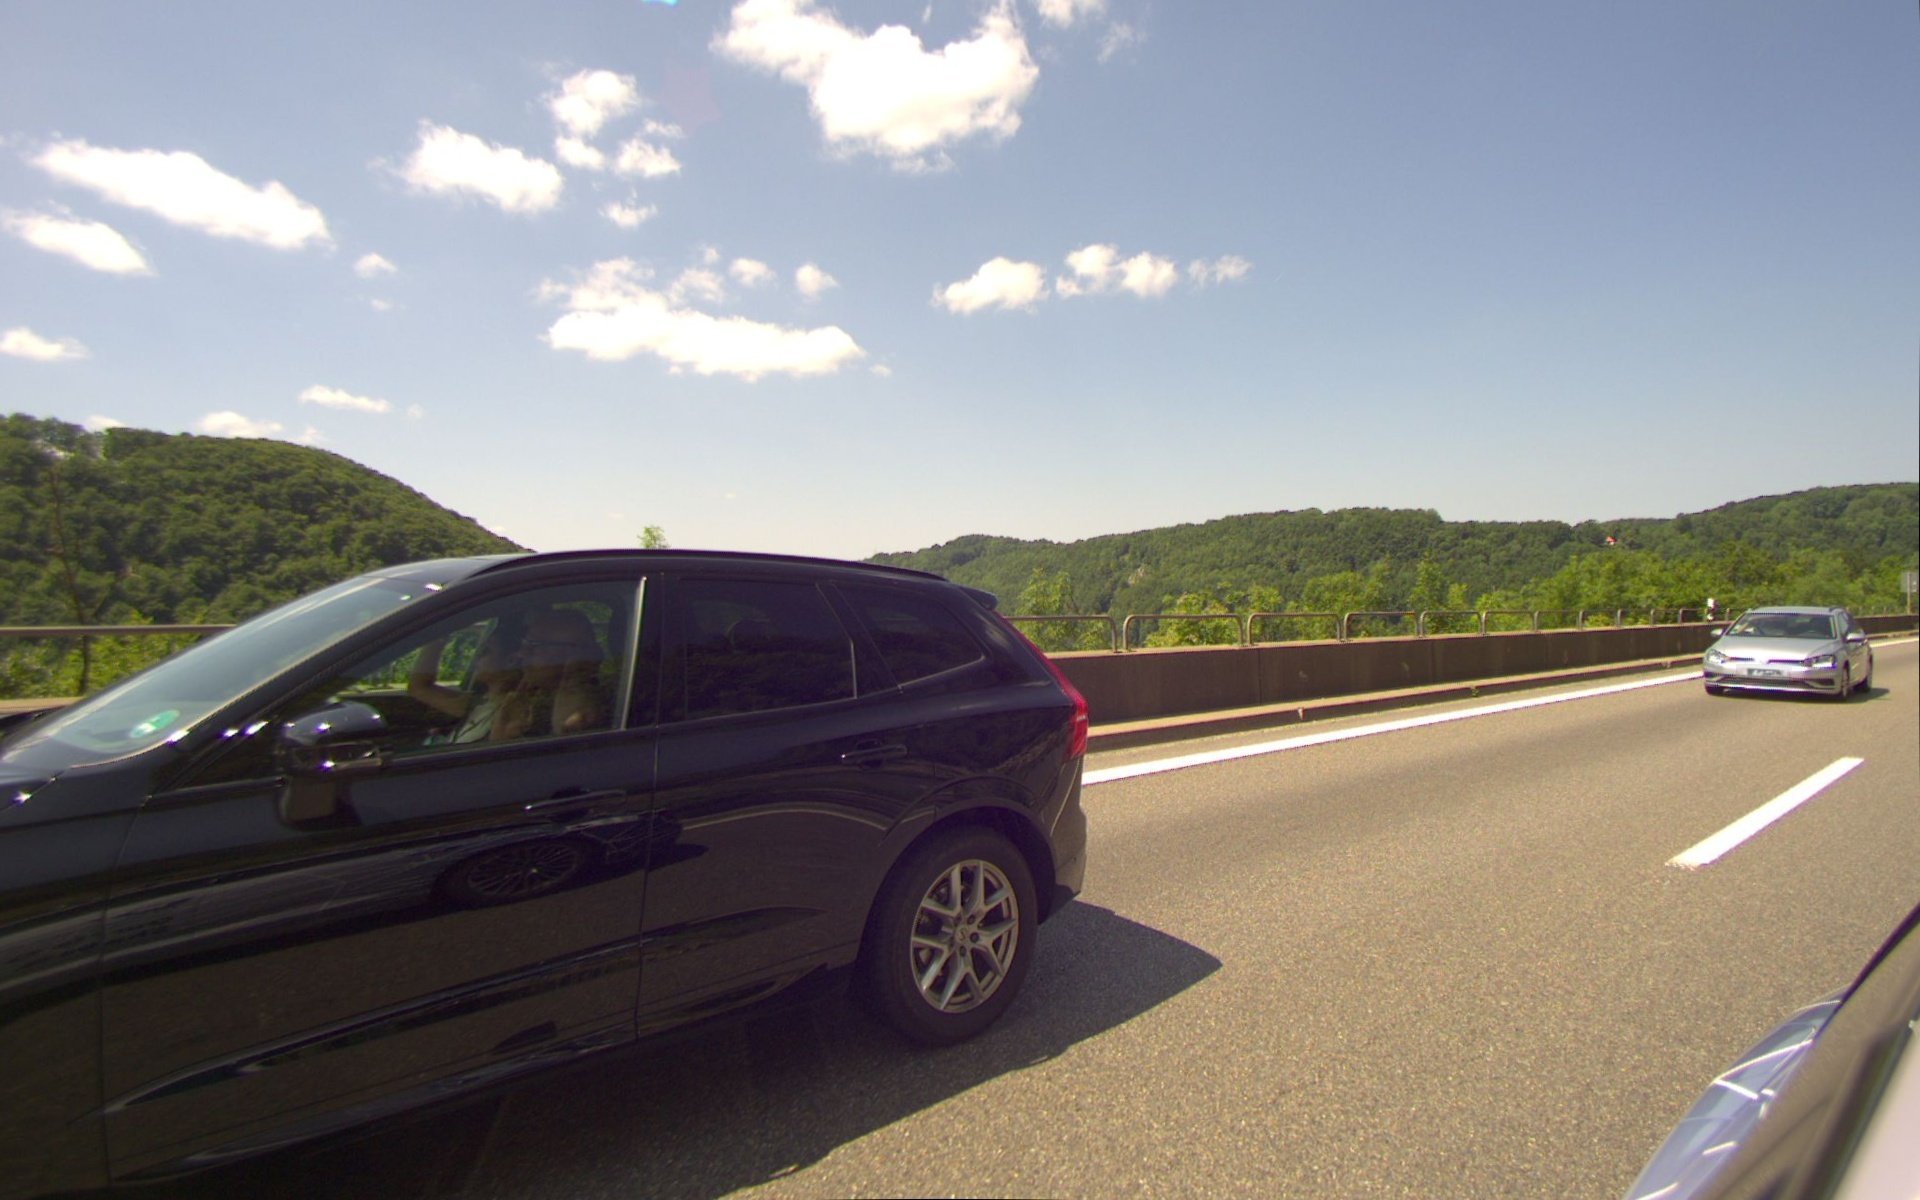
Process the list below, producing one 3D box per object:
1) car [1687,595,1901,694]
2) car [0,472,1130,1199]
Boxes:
[{"bbox_3d":[13.932,0.634,16.834,4.217,1.395,1.972,-1,1,-39],"label":"car"},{"bbox_3d":[-1.652,0.596,3.027,4.582,1.654,1.837,0,0,-42],"label":"car"}]
